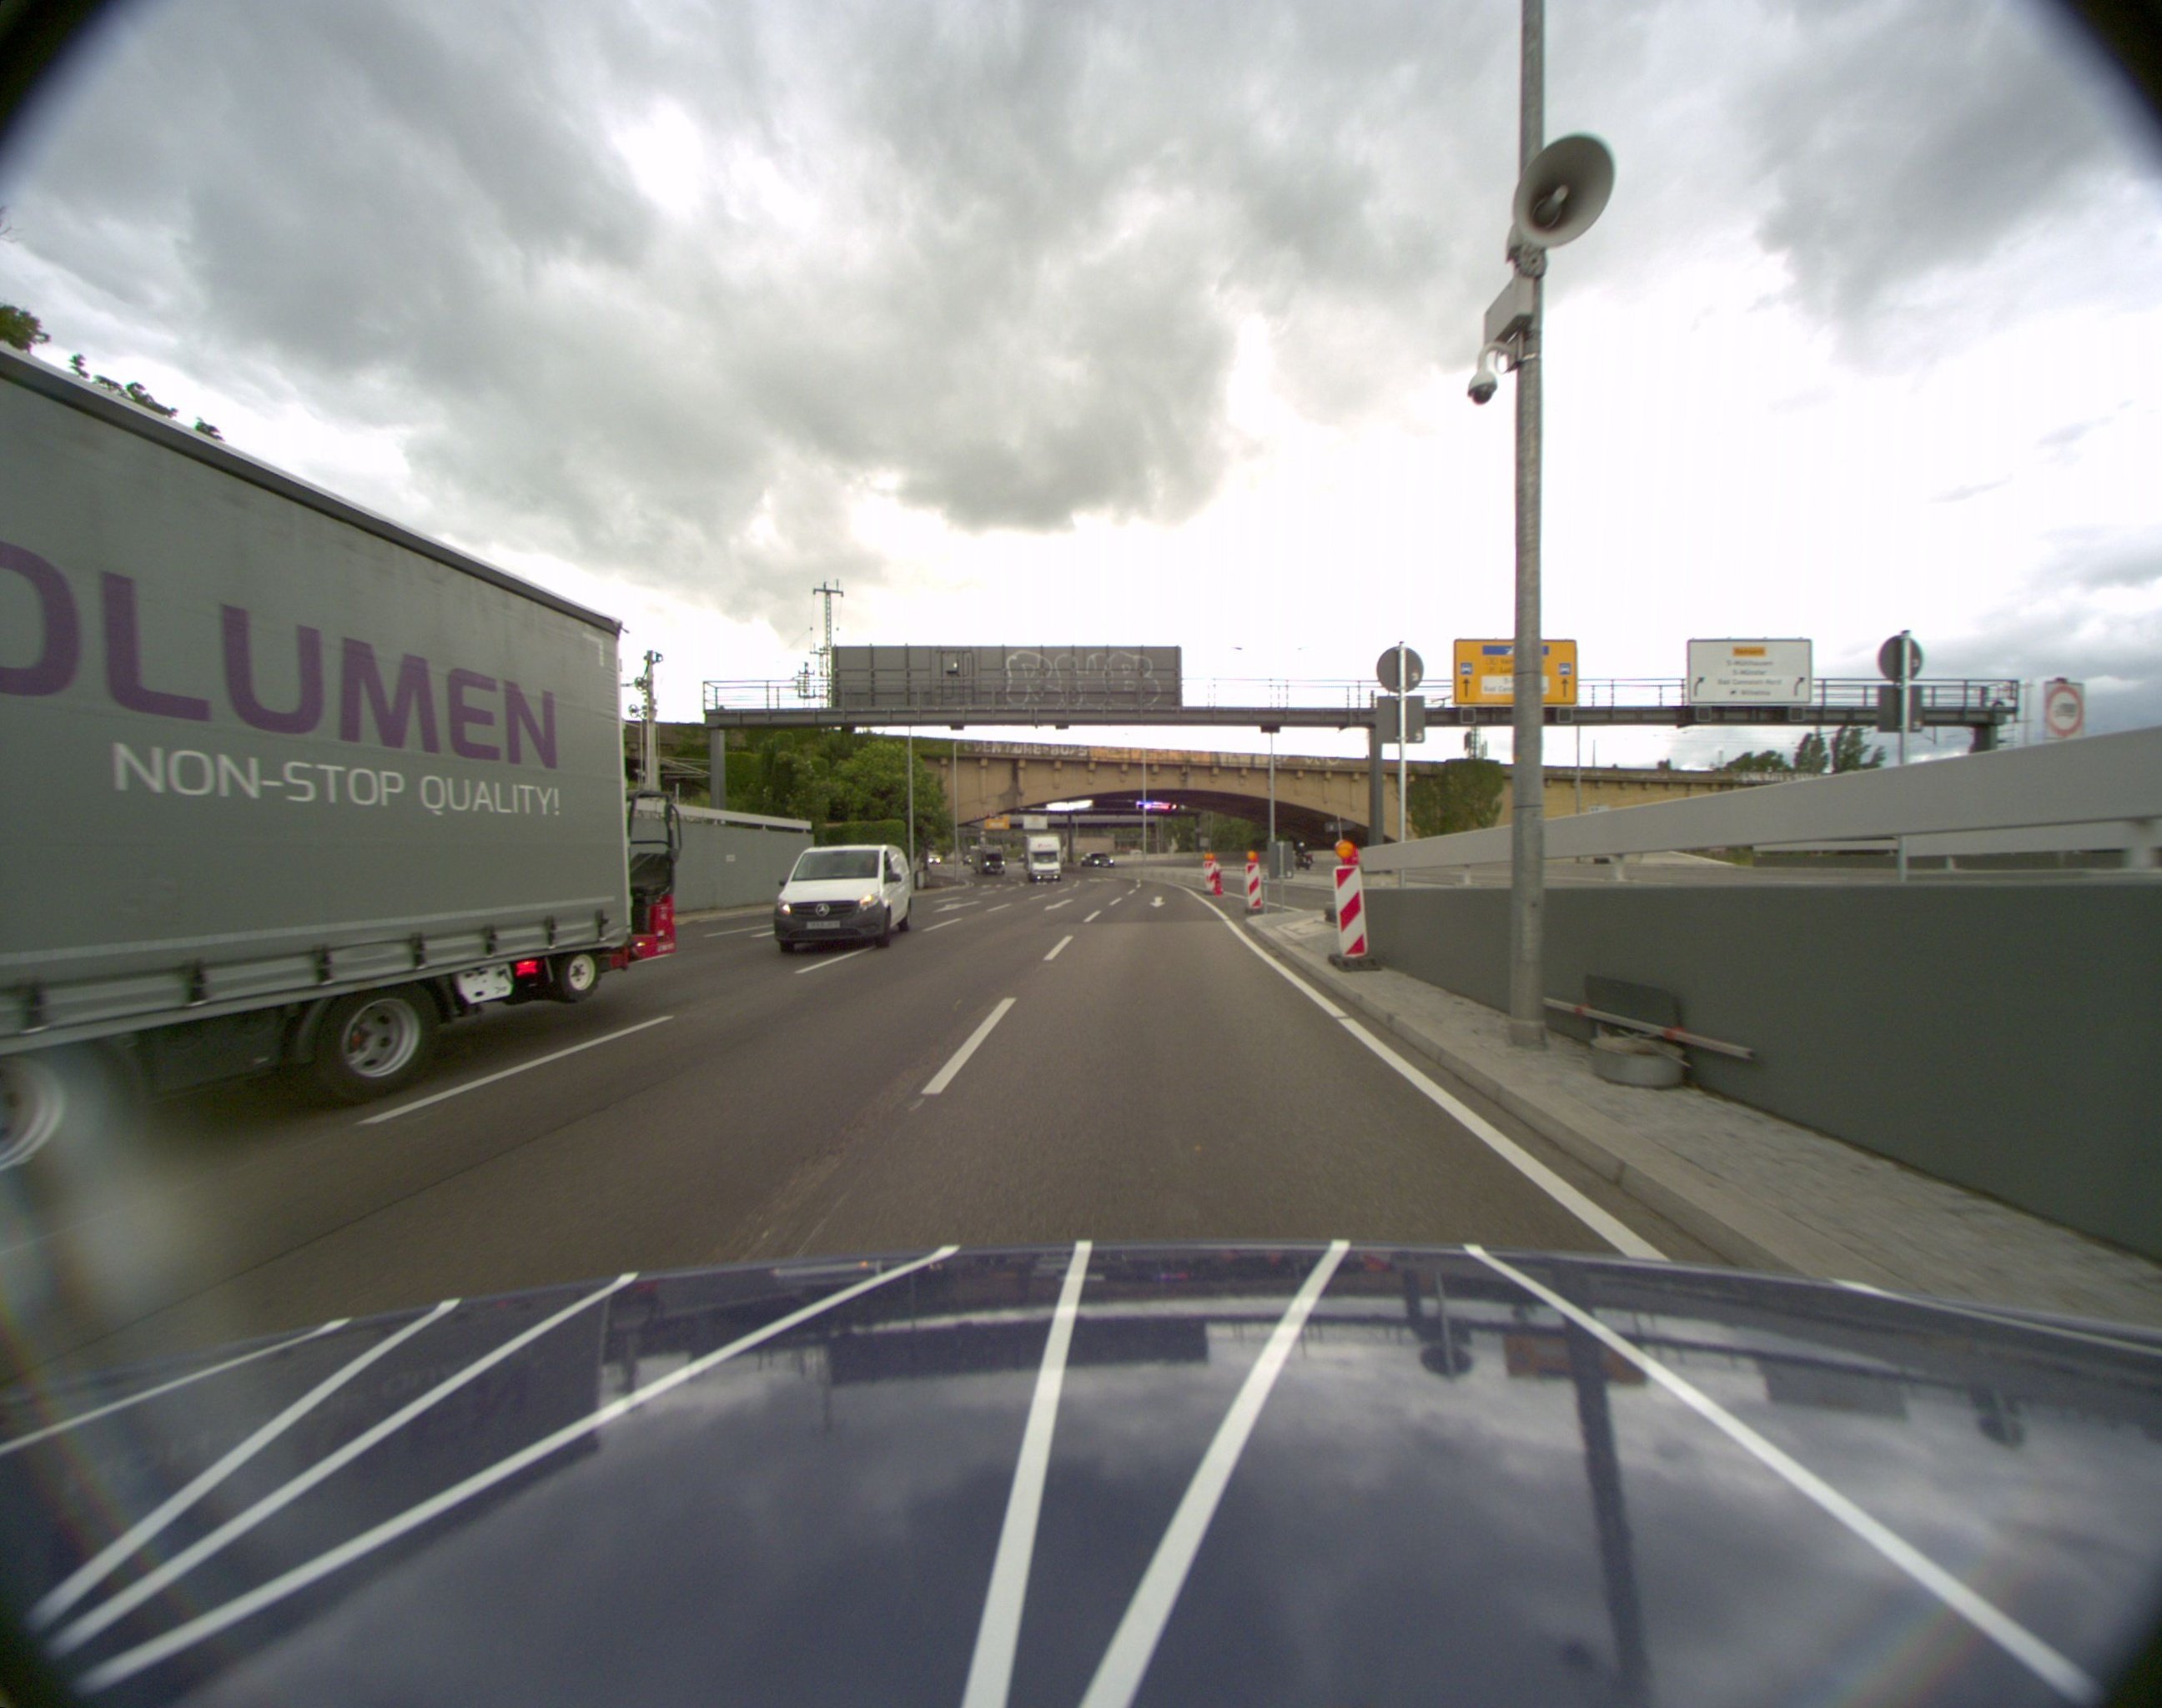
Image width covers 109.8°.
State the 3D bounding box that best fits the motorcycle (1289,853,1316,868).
[{"bbox_3d":[14.072,0.438,48.335,0.667,0.911,2.393,-3,0,-9],"label":"motorcycle"}]

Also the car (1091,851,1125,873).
[{"bbox_3d":[2.347,0.665,66.777,1.870,1.827,4.201,-2,0,-13],"label":"car"}]

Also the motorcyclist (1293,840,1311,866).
[{"bbox_3d":[14.053,-0.078,48.327,0.667,1.596,1.102,-3,0,-9],"label":"motorcyclist"}]

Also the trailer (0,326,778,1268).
[{"bbox_3d":[-6.482,-0.217,5.208,3.733,4.117,10.985,-2,0,3],"label":"trailer"}]

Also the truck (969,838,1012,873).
[{"bbox_3d":[-9.899,0.163,81.987,2.578,3.548,9.100,-2,0,-19],"label":"truck"}]

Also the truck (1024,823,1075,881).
[{"bbox_3d":[-2.362,-0.176,53.923,3.033,3.566,8.946,-5,1,-4],"label":"truck"}]

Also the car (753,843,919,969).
[{"bbox_3d":[-4.556,0.843,15.047,1.999,1.978,5.196,-3,0,-6],"label":"car"}]

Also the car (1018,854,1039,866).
[{"bbox_3d":[-8.432,0.931,122.301,2.002,1.575,4.130,-4,-2,-25],"label":"car"}]
